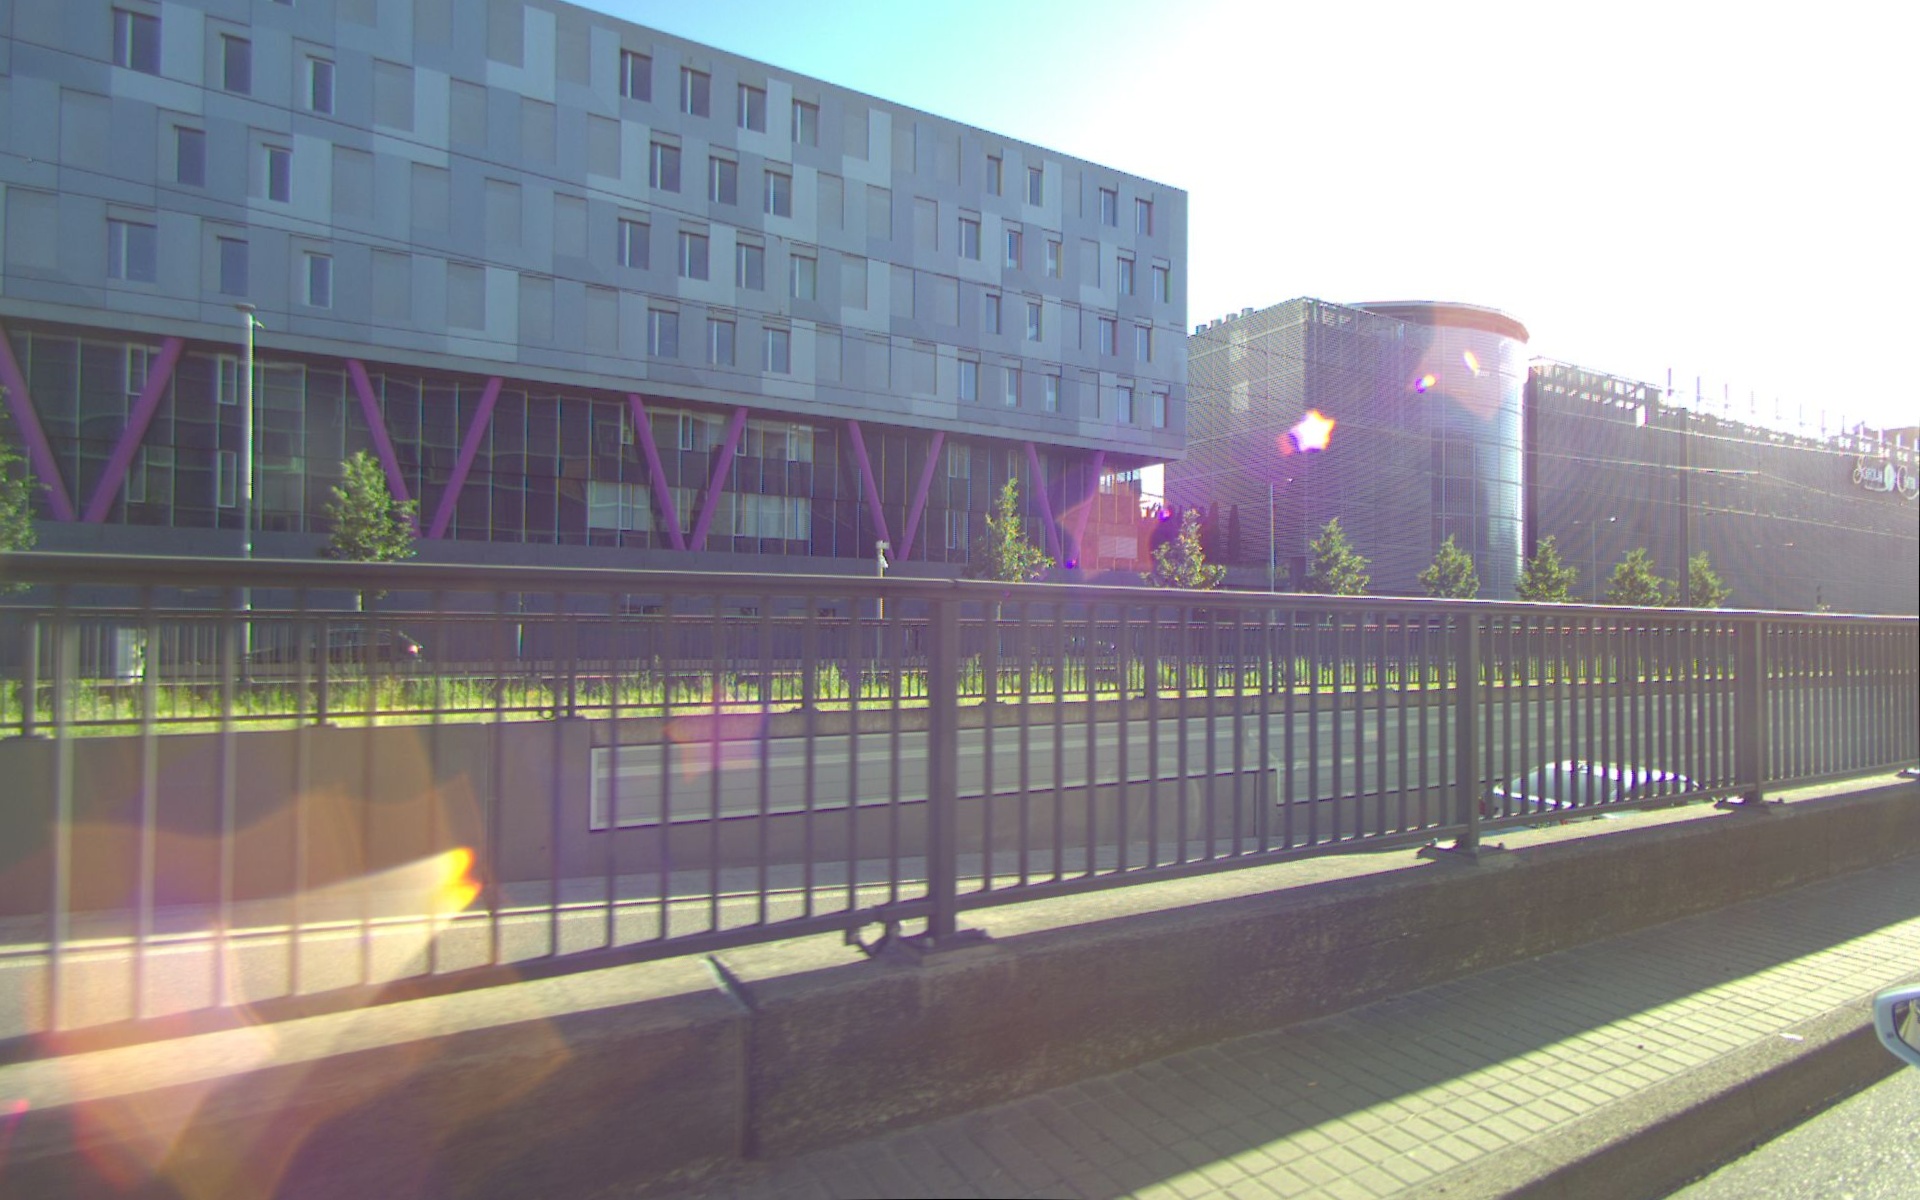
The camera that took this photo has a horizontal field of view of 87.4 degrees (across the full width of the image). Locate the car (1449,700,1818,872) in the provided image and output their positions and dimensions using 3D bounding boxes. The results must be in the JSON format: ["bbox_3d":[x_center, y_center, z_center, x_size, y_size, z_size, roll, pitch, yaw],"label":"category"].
[{"bbox_3d":[8.618,2.201,12.764,4.848,1.547,1.791,1,0,-28],"label":"car"}]
